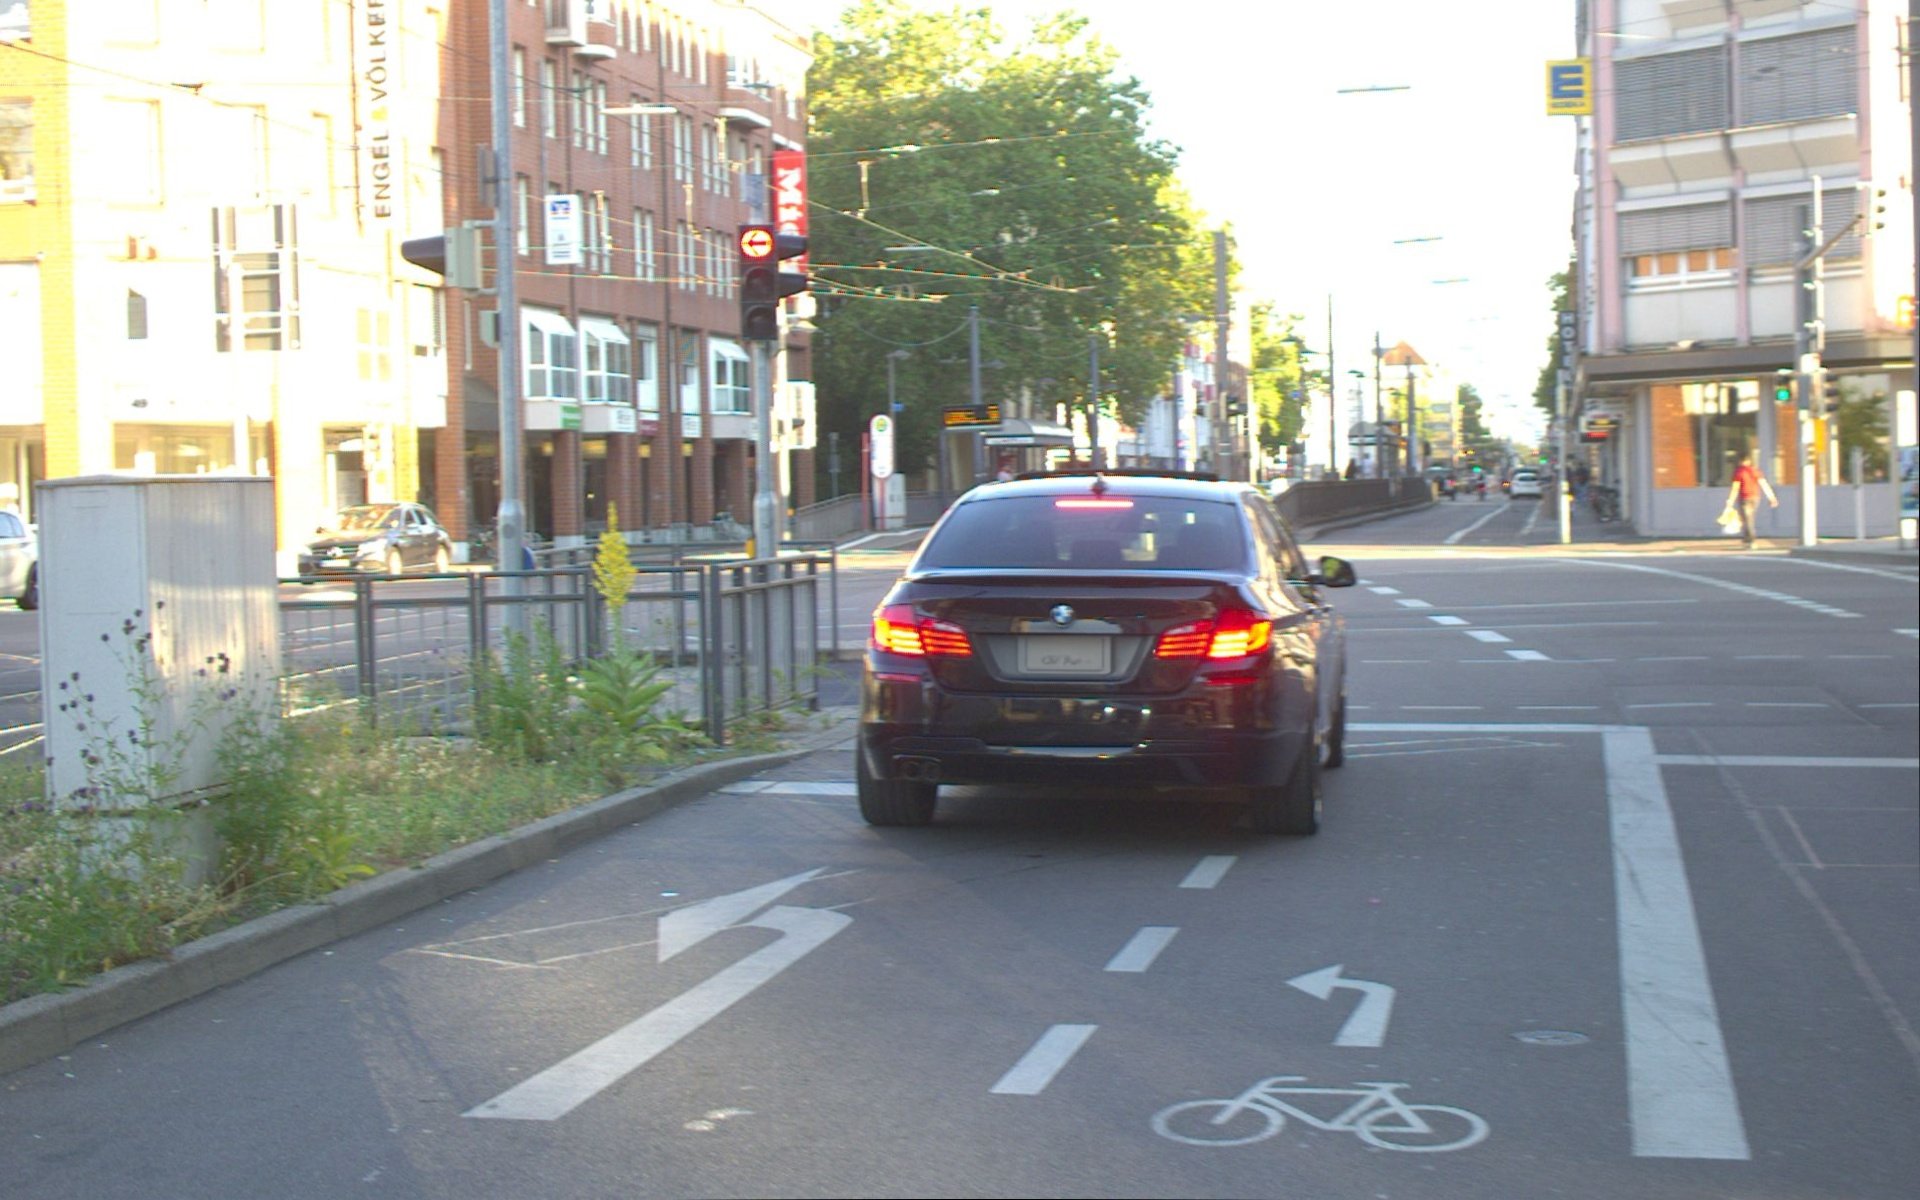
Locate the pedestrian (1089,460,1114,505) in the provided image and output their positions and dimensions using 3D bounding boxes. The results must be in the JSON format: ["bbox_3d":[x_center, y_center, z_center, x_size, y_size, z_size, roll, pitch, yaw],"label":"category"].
[{"bbox_3d":[5.297,-4.407,128.653,0.724,1.675,0.991,-1,2,12],"label":"pedestrian"}]

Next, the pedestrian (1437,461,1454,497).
[{"bbox_3d":[27.919,-6.950,197.571,0.914,2.006,0.887,-1,2,9],"label":"pedestrian"}]

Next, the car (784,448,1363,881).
[{"bbox_3d":[0.646,0.150,14.998,1.994,1.579,3.999,1,3,9],"label":"car"}]

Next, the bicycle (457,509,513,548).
[{"bbox_3d":[-11.539,-1.731,83.547,1.286,0.919,0.349,1,3,6],"label":"bicycle"}]

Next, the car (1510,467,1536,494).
[{"bbox_3d":[32.857,-6.999,200.675,1.473,1.509,3.095,-1,2,9],"label":"car"}]

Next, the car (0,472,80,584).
[{"bbox_3d":[-13.405,-0.924,45.373,1.670,1.443,4.200,-1,2,13],"label":"car"}]

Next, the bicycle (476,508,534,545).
[{"bbox_3d":[-11.331,-1.829,85.620,1.412,0.919,0.444,0,3,-6],"label":"bicycle"}]

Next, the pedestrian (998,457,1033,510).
[{"bbox_3d":[1.781,-3.712,109.314,0.988,1.675,0.726,-1,2,9],"label":"pedestrian"}]

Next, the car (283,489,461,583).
[{"bbox_3d":[-10.852,-1.218,63.747,1.994,1.579,4.478,-1,2,7],"label":"car"}]

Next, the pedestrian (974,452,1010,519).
[{"bbox_3d":[0.957,-3.479,104.040,0.988,2.006,0.726,1,2,9],"label":"pedestrian"}]

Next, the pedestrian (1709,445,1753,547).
[{"bbox_3d":[14.039,-1.898,62.647,0.684,1.848,0.671,-1,2,6],"label":"pedestrian"}]

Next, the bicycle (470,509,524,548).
[{"bbox_3d":[-11.324,-1.751,84.056,1.285,0.919,0.349,0,3,-6],"label":"bicycle"}]
